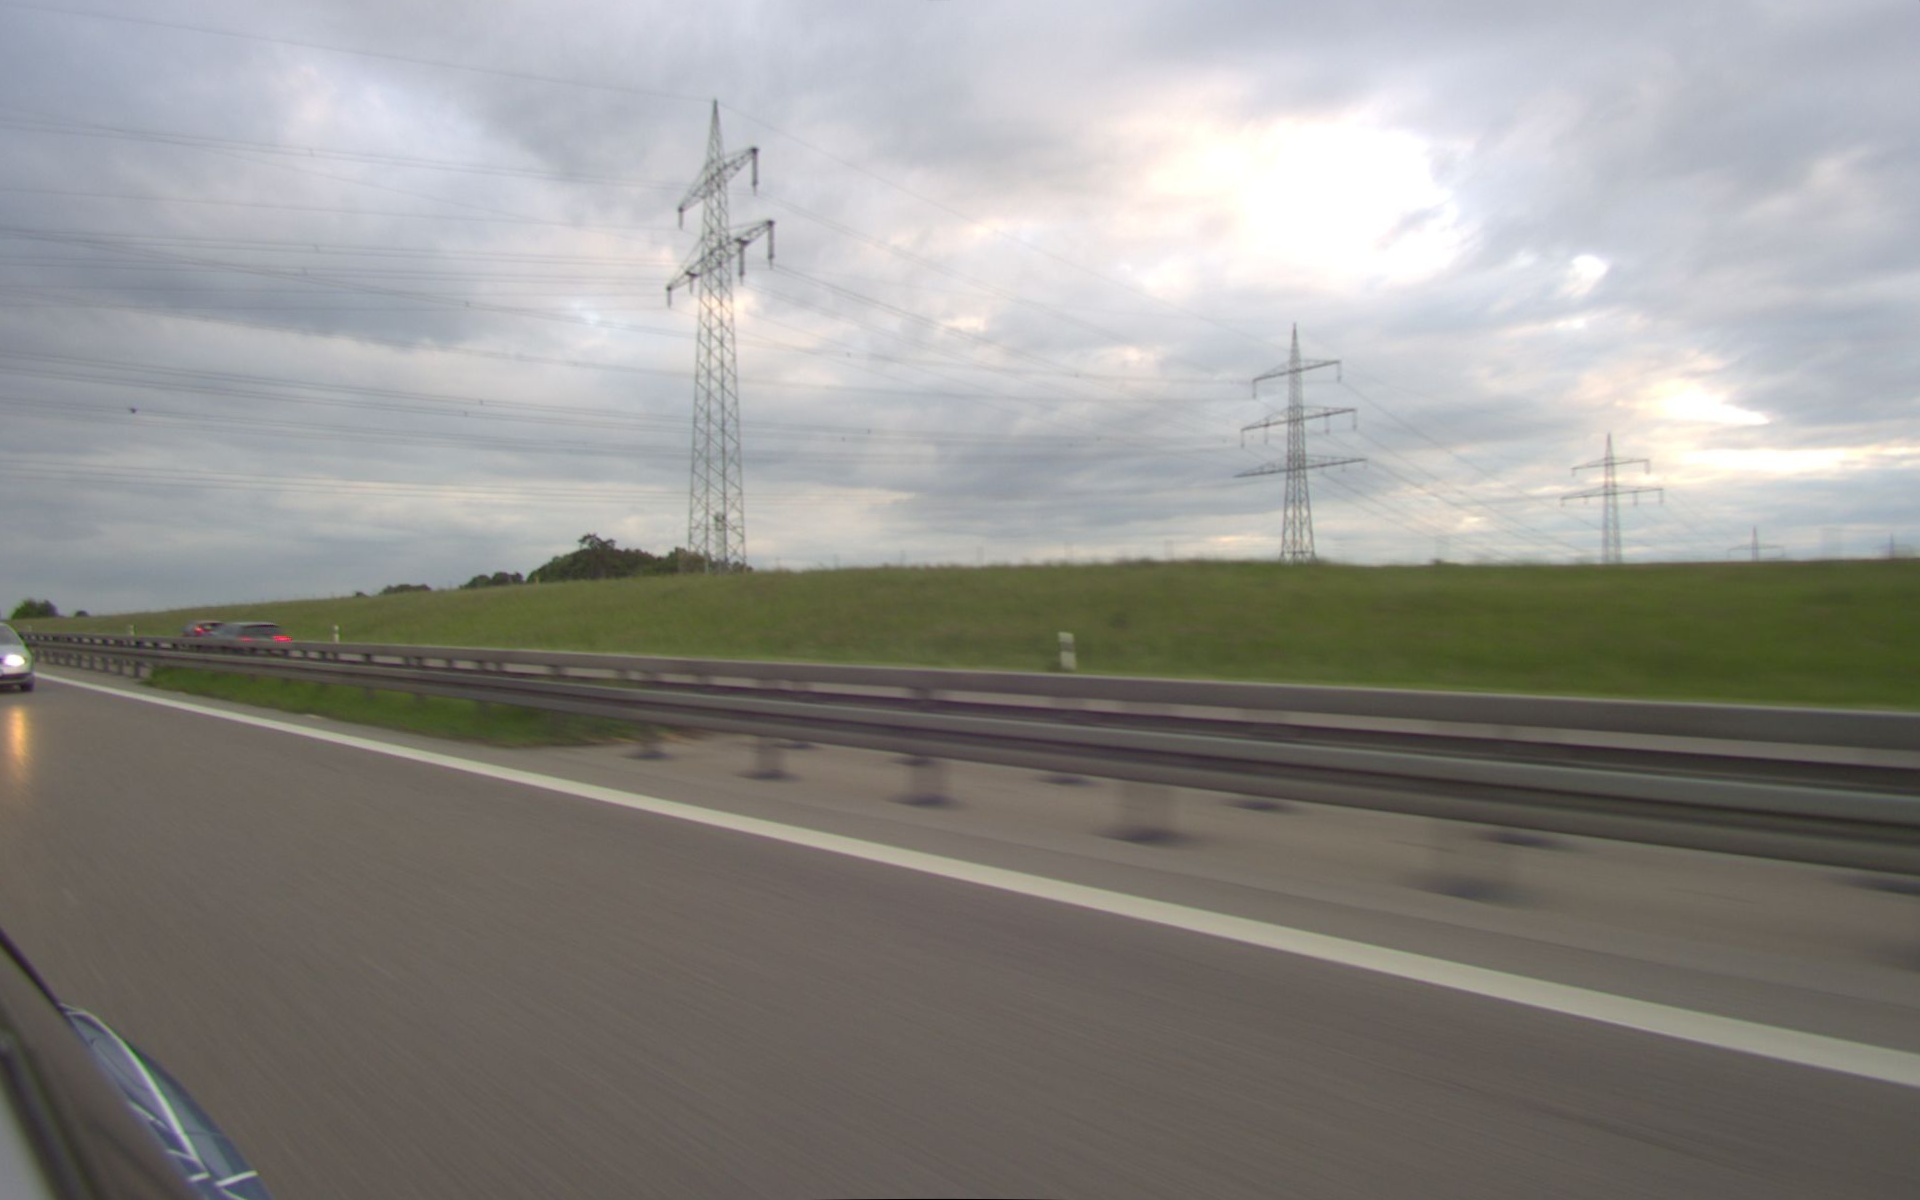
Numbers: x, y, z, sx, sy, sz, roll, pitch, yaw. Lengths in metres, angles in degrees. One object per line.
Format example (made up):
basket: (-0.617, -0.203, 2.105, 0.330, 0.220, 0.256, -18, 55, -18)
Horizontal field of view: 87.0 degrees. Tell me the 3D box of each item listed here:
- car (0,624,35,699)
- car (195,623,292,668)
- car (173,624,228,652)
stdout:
car: (-20.046, 1.185, 20.257, 4.597, 1.400, 1.572, -1, -2, 39)
car: (-26.047, 1.618, 36.727, 5.118, 1.467, 1.720, -2, 0, 41)
car: (-42.731, 2.109, 56.874, 4.431, 1.444, 1.512, -2, 0, 40)
